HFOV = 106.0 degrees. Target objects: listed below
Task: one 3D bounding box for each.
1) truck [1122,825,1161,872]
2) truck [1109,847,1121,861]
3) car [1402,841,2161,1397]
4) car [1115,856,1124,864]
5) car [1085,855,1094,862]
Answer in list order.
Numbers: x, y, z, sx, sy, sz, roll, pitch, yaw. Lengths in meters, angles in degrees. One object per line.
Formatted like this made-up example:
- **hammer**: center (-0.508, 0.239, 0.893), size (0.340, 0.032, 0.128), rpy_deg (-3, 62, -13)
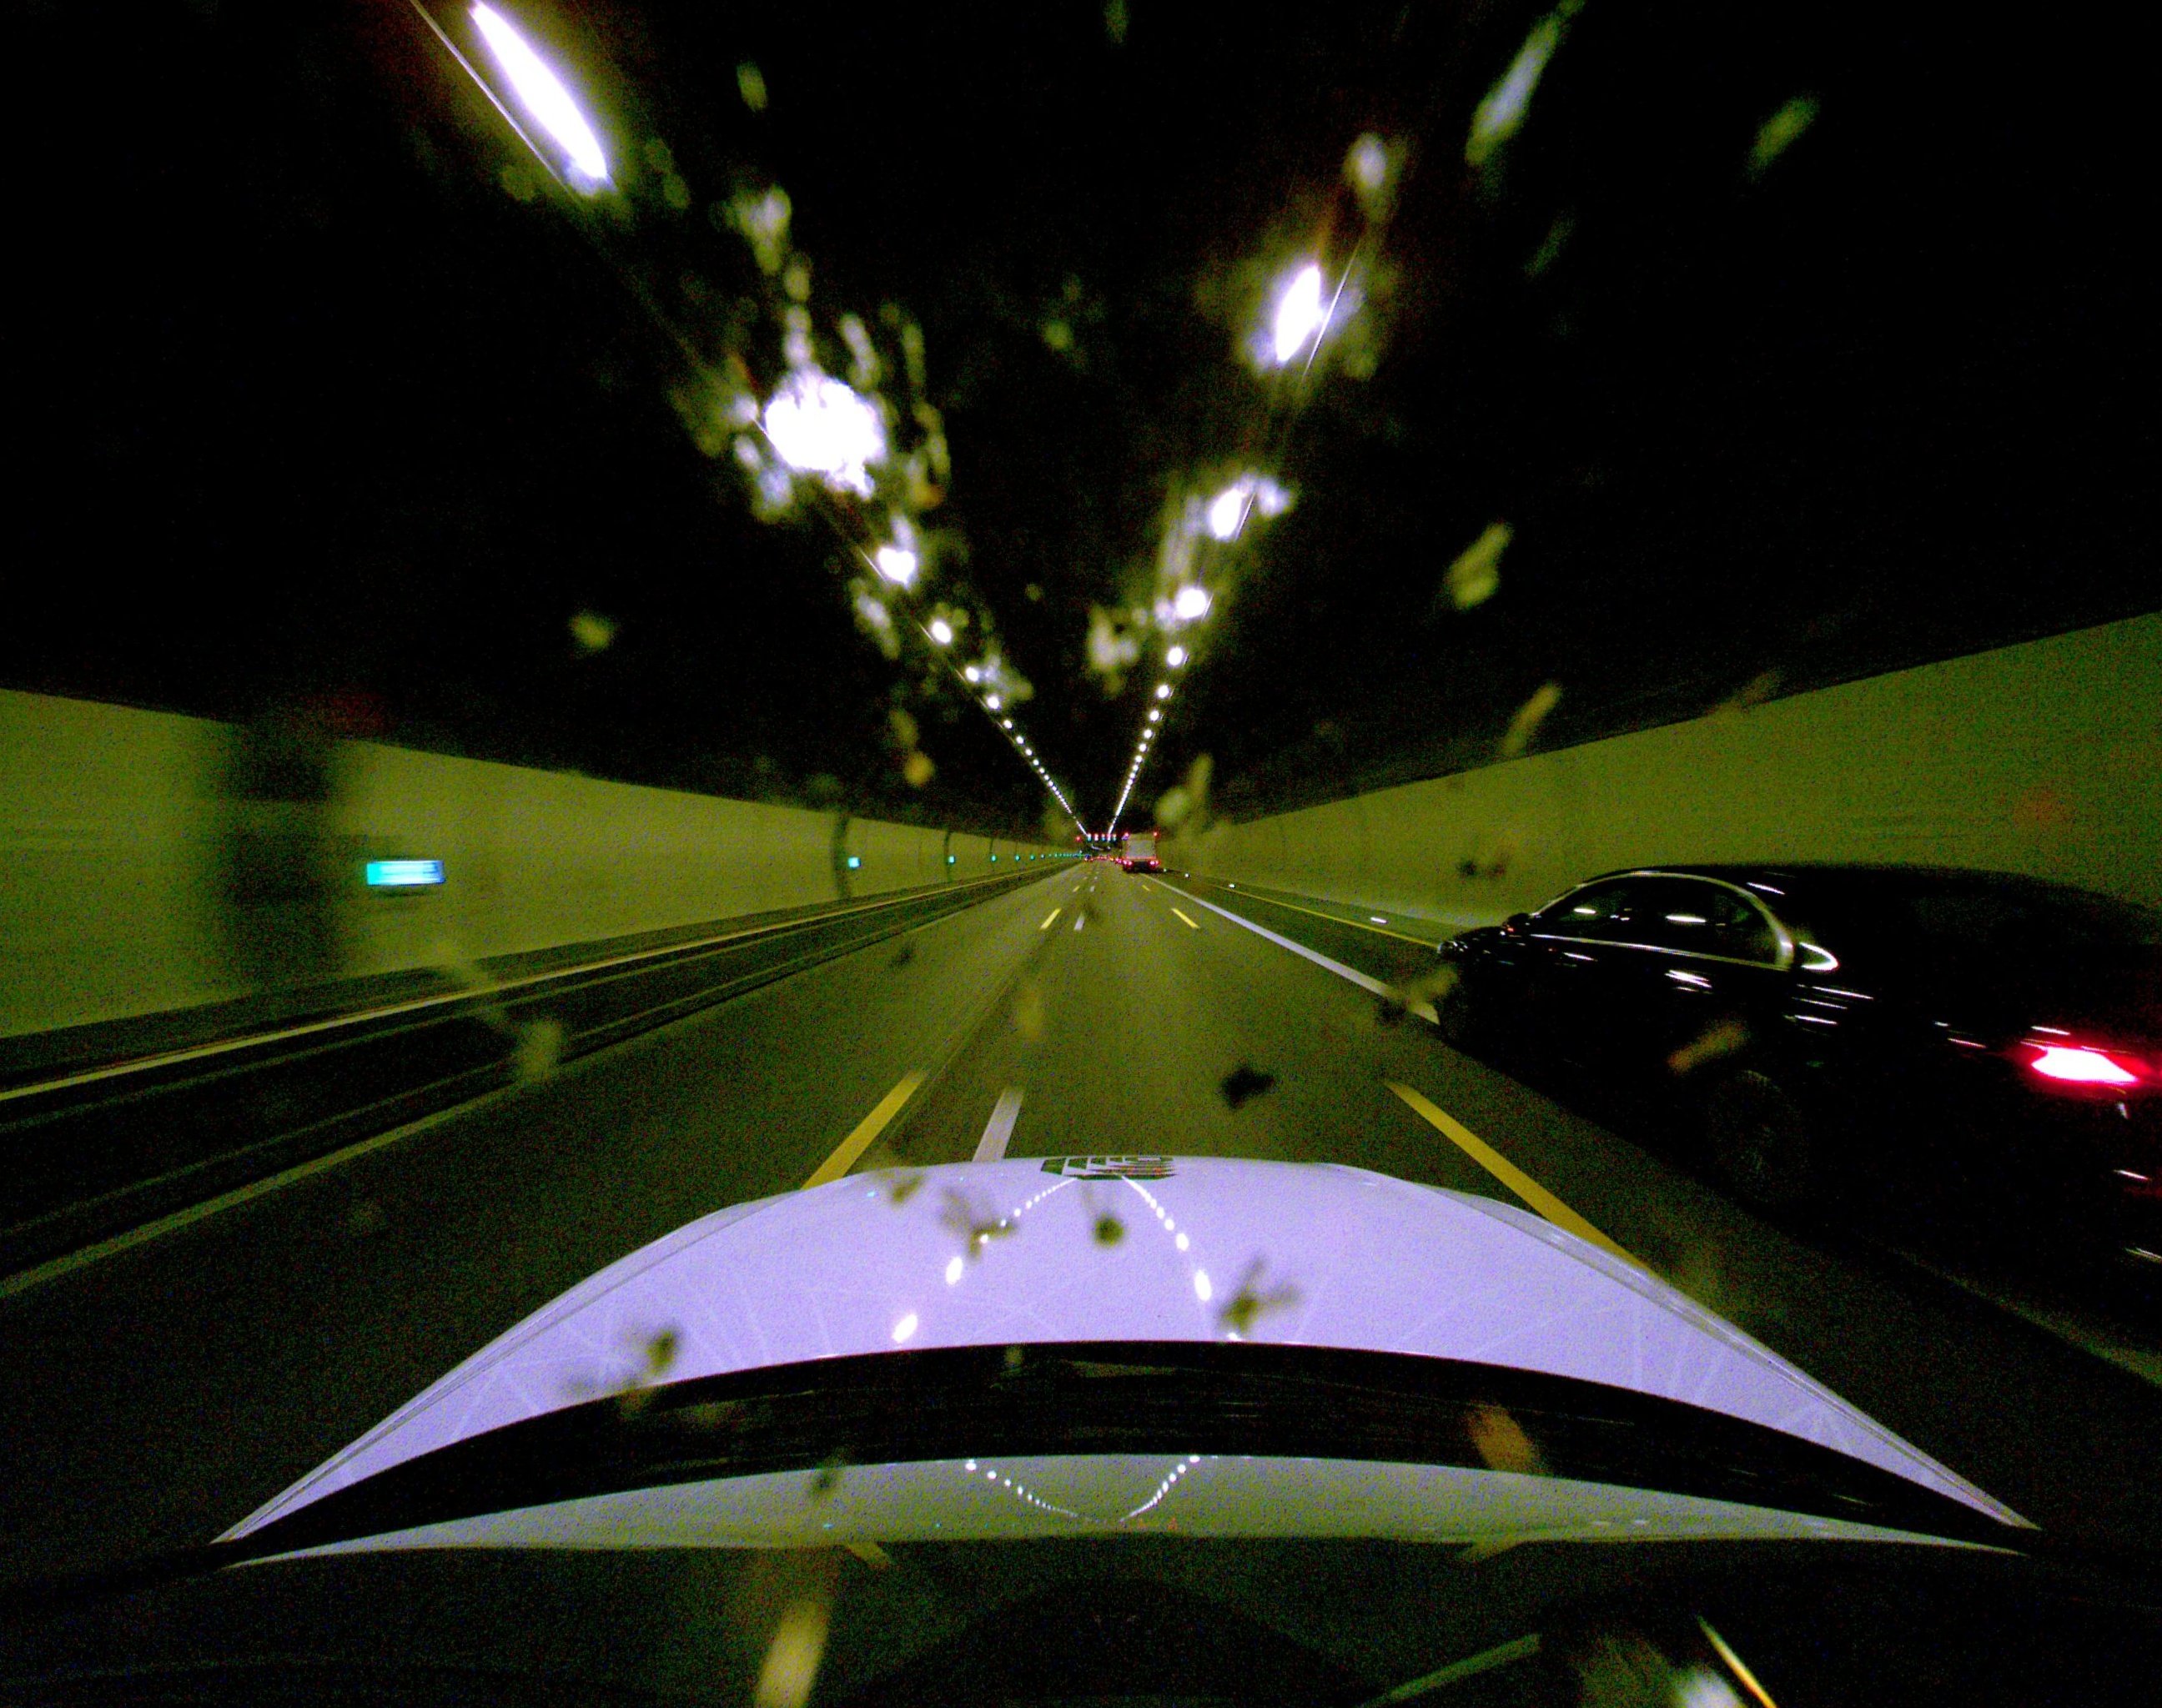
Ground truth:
- **truck**: center (5.406, -0.348, 73.995), size (3.080, 3.918, 10.371), rpy_deg (1, -1, 2)
- **truck**: center (9.994, 0.042, 238.592), size (3.054, 3.918, 10.375), rpy_deg (1, -1, 3)
- **car**: center (3.689, 0.727, 4.635), size (1.918, 1.472, 4.956), rpy_deg (0, 0, 2)
- **car**: center (7.793, 1.178, 162.767), size (1.732, 1.461, 3.963), rpy_deg (0, 0, 3)
- **car**: center (1.794, 1.014, 175.034), size (1.752, 1.461, 4.121), rpy_deg (0, 0, 2)
